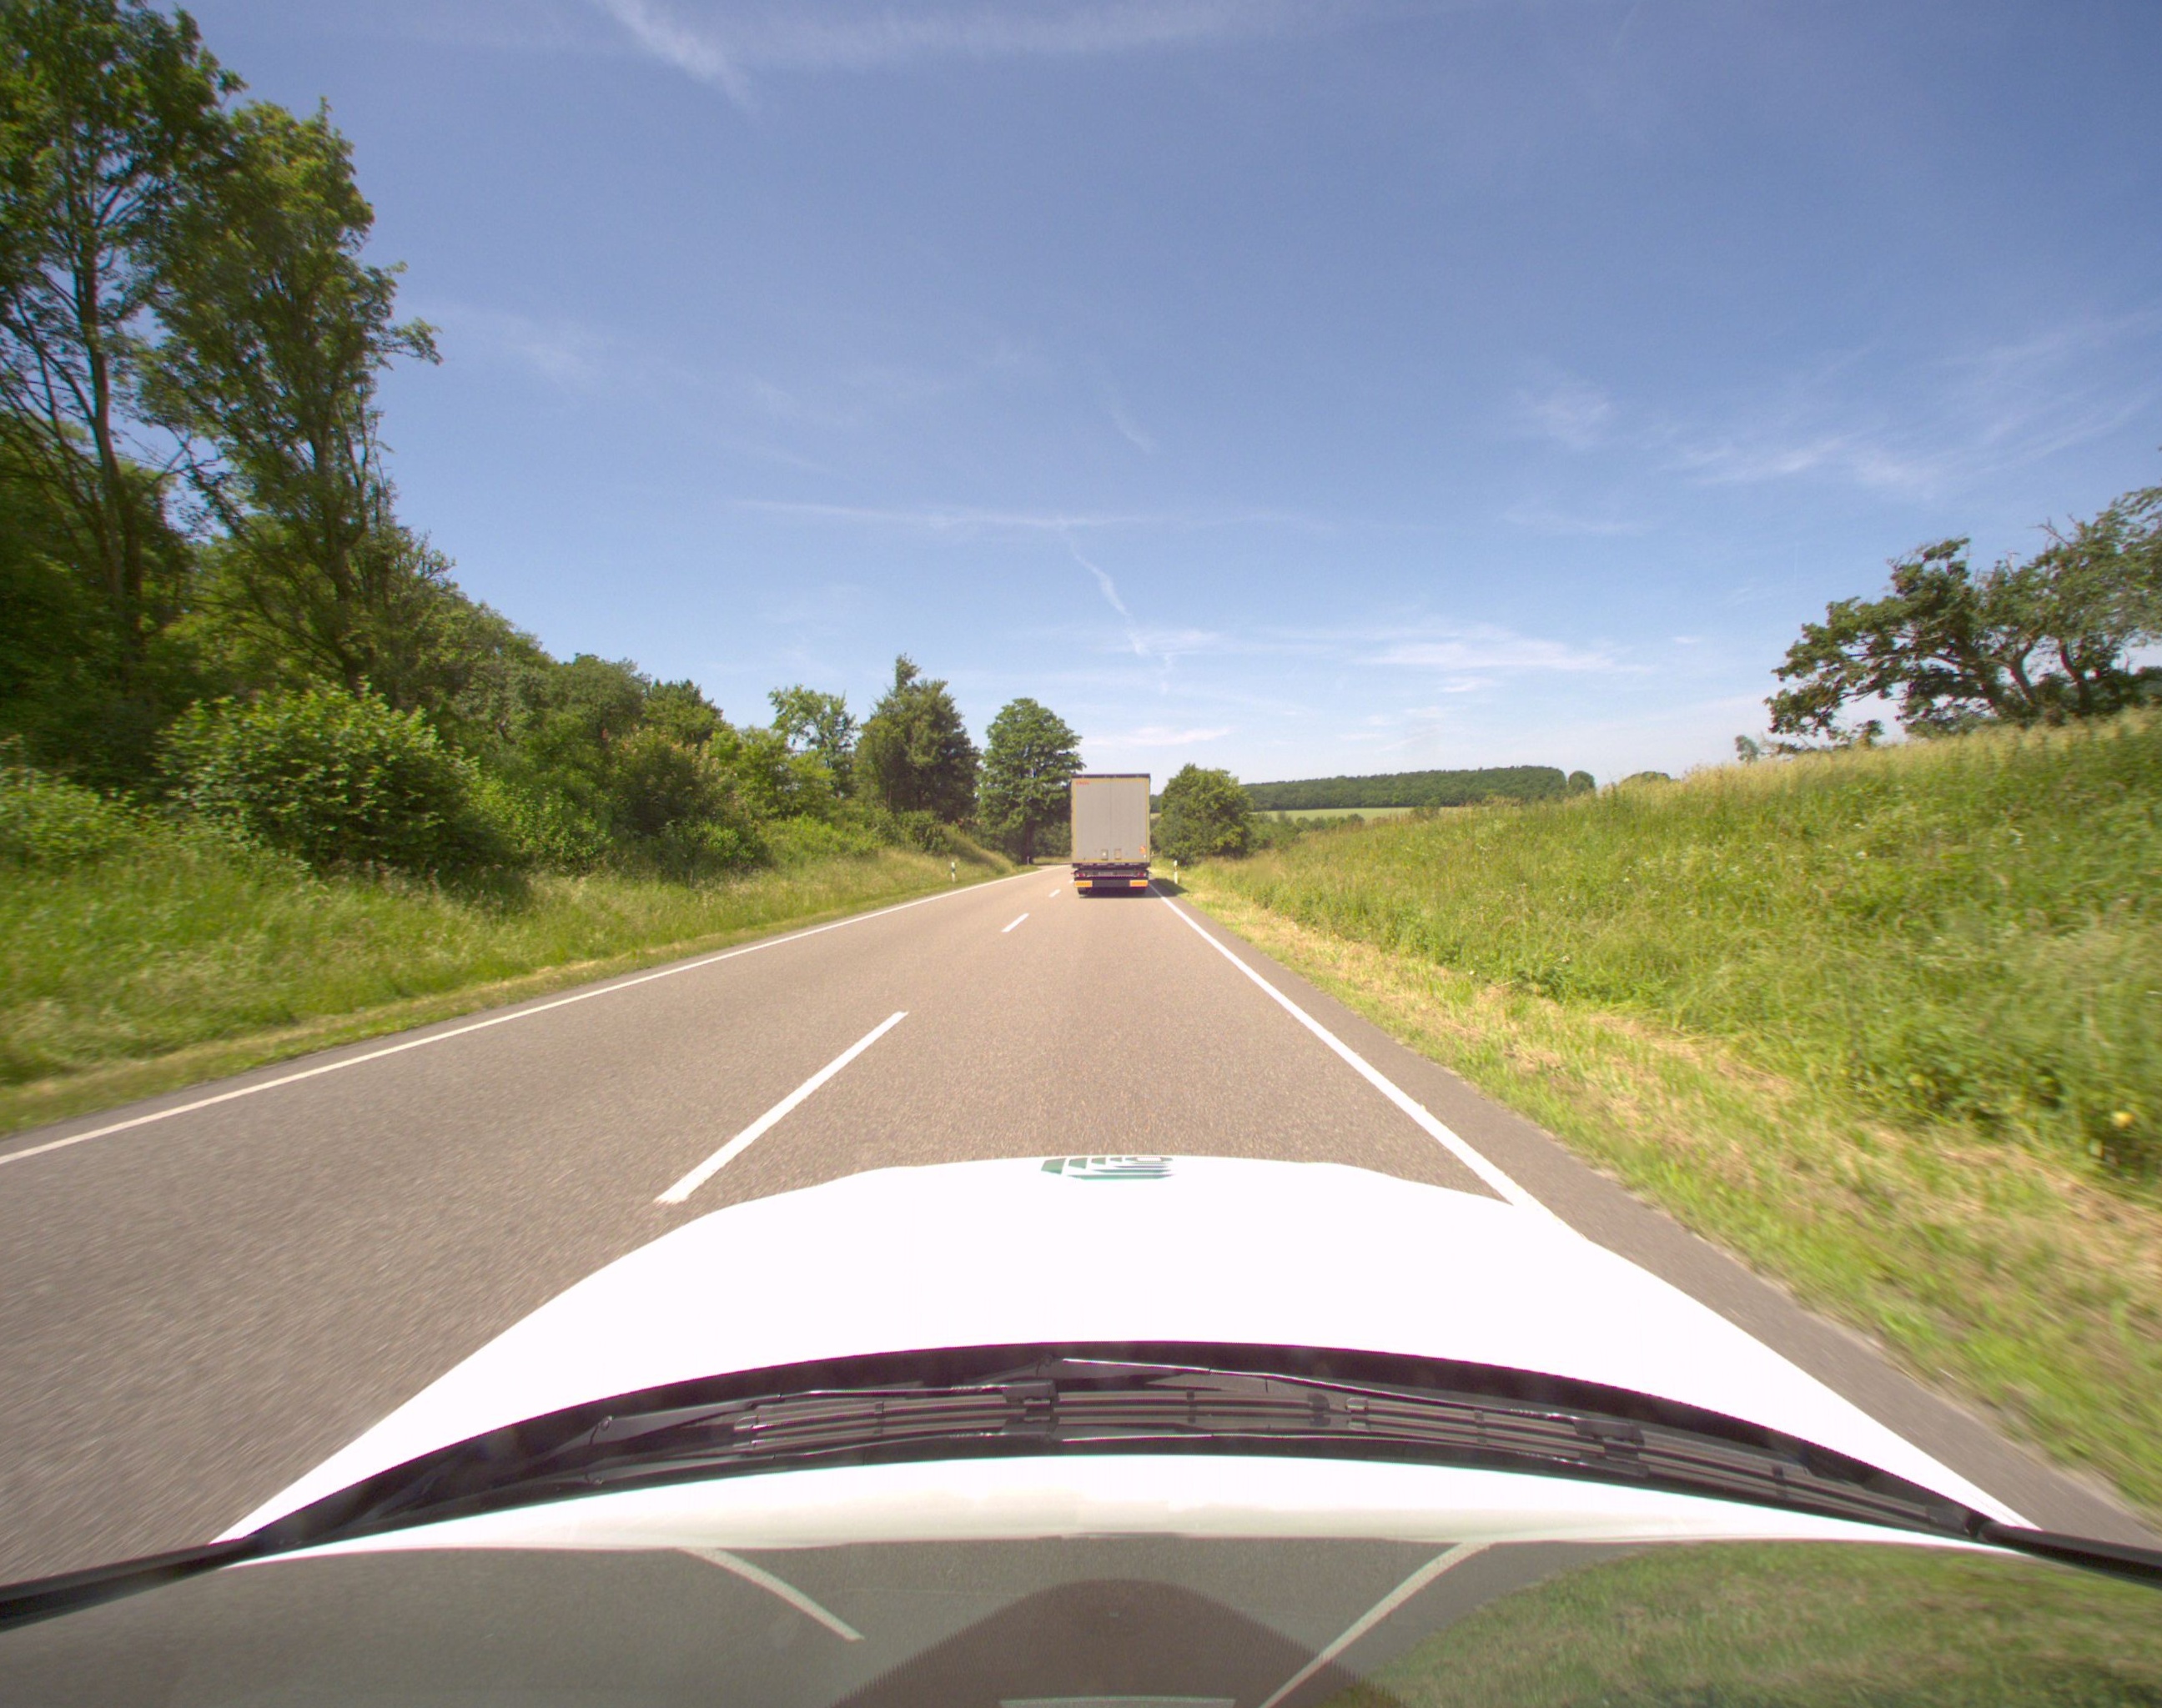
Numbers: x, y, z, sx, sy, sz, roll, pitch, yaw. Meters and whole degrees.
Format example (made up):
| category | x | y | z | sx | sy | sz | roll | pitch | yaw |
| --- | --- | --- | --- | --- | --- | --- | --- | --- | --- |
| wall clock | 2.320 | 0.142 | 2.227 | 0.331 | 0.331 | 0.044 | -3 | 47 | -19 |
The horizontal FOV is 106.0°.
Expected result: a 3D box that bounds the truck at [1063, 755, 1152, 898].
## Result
| category | x | y | z | sx | sy | sz | roll | pitch | yaw |
| --- | --- | --- | --- | --- | --- | --- | --- | --- | --- |
| truck | 1.198 | -0.916 | 31.801 | 2.805 | 4.532 | 11.779 | 0 | 0 | 3 |
